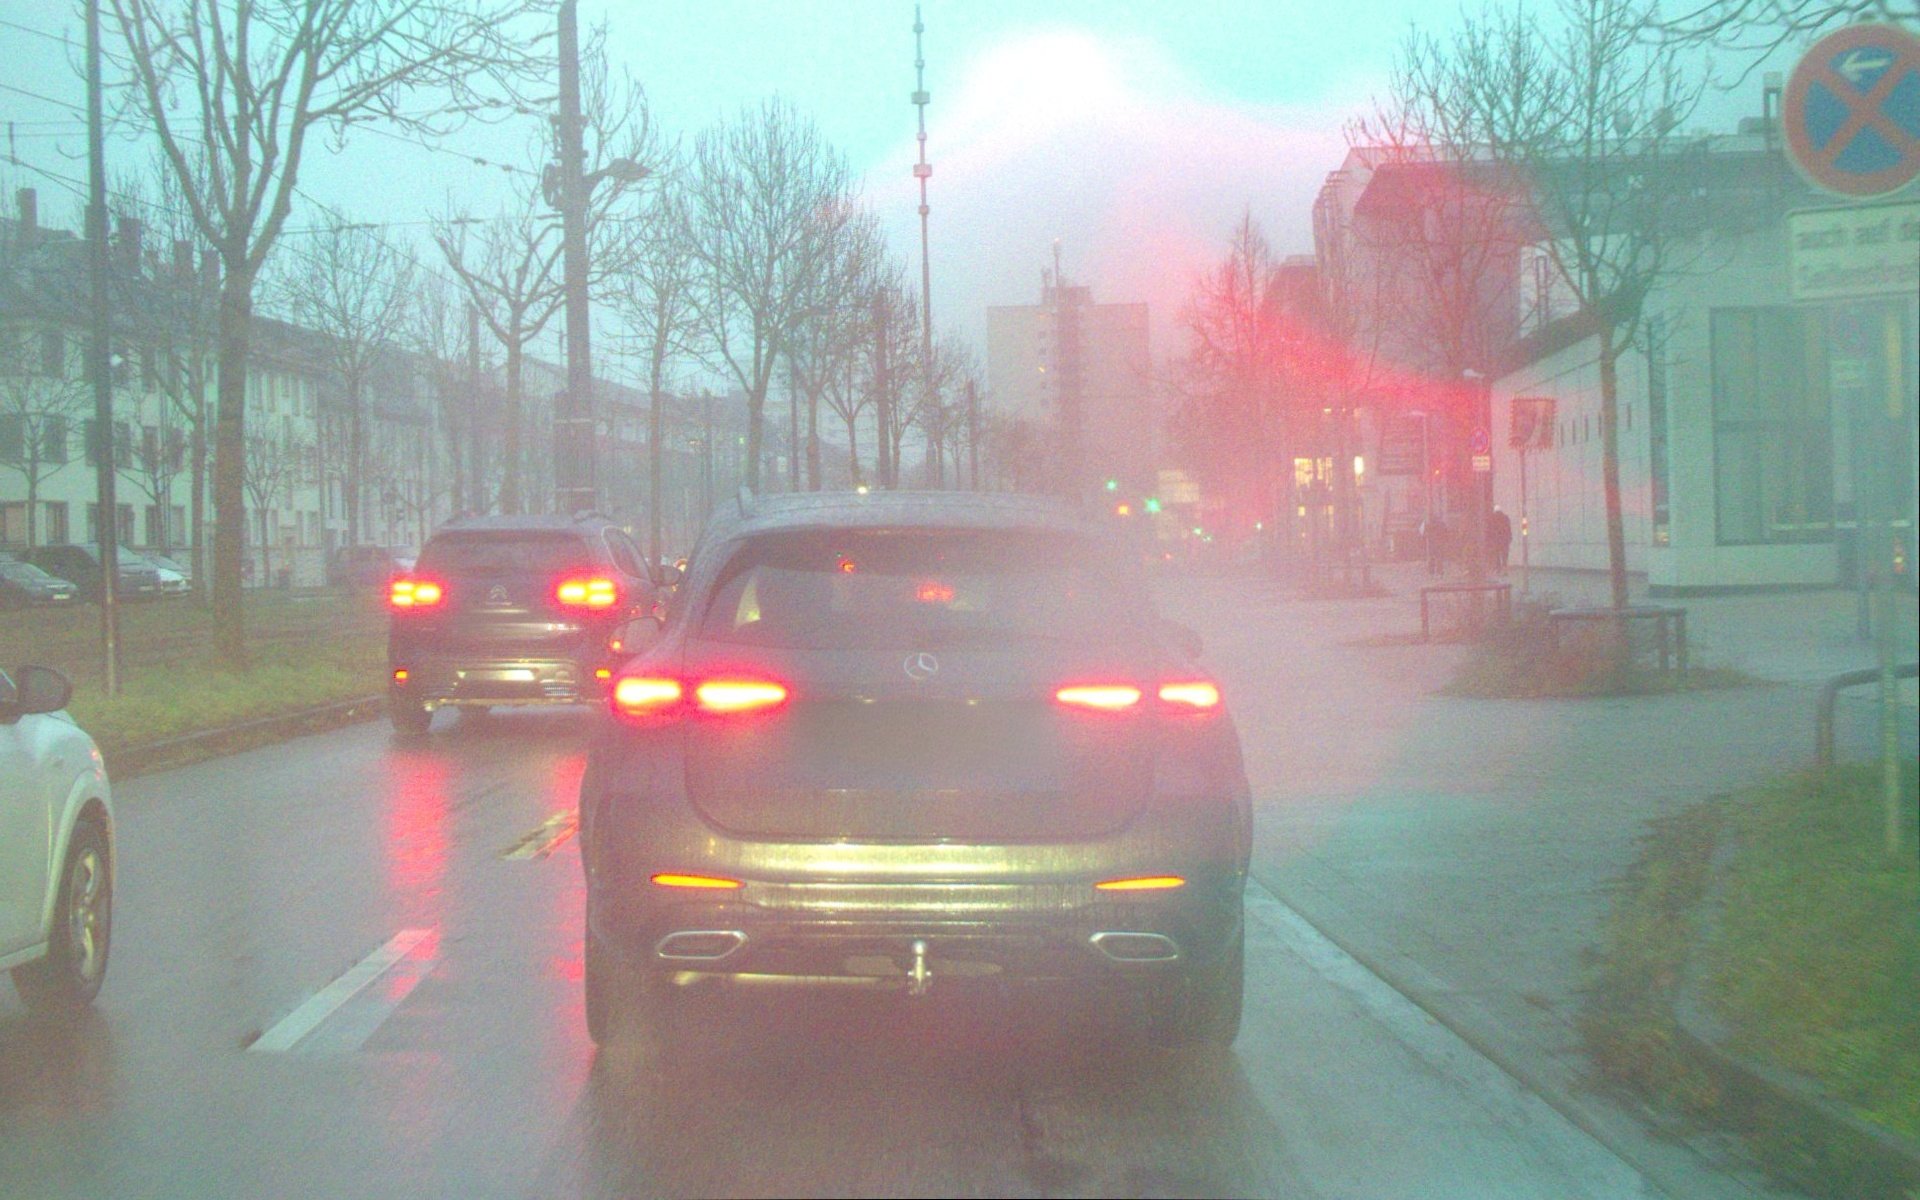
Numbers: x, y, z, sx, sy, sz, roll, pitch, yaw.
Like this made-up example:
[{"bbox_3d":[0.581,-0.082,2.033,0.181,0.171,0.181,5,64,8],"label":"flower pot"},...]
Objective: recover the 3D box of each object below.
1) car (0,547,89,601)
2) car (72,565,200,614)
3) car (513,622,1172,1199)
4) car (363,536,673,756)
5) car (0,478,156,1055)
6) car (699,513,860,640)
[{"bbox_3d":[-25.003,-0.681,91.209,3.552,1.349,1.778,-1,2,37],"label":"car"},{"bbox_3d":[-24.355,-0.296,101.619,3.552,1.349,1.778,-1,2,37],"label":"car"},{"bbox_3d":[-0.176,0.912,10.750,1.672,1.594,4.053,0,1,4],"label":"car"},{"bbox_3d":[-3.375,0.304,26.941,1.672,1.594,4.053,0,1,4],"label":"car"},{"bbox_3d":[-3.493,0.465,9.379,1.672,1.594,4.054,0,1,0],"label":"car"},{"bbox_3d":[-2.338,-0.331,45.400,1.672,1.594,4.053,0,1,4],"label":"car"}]
